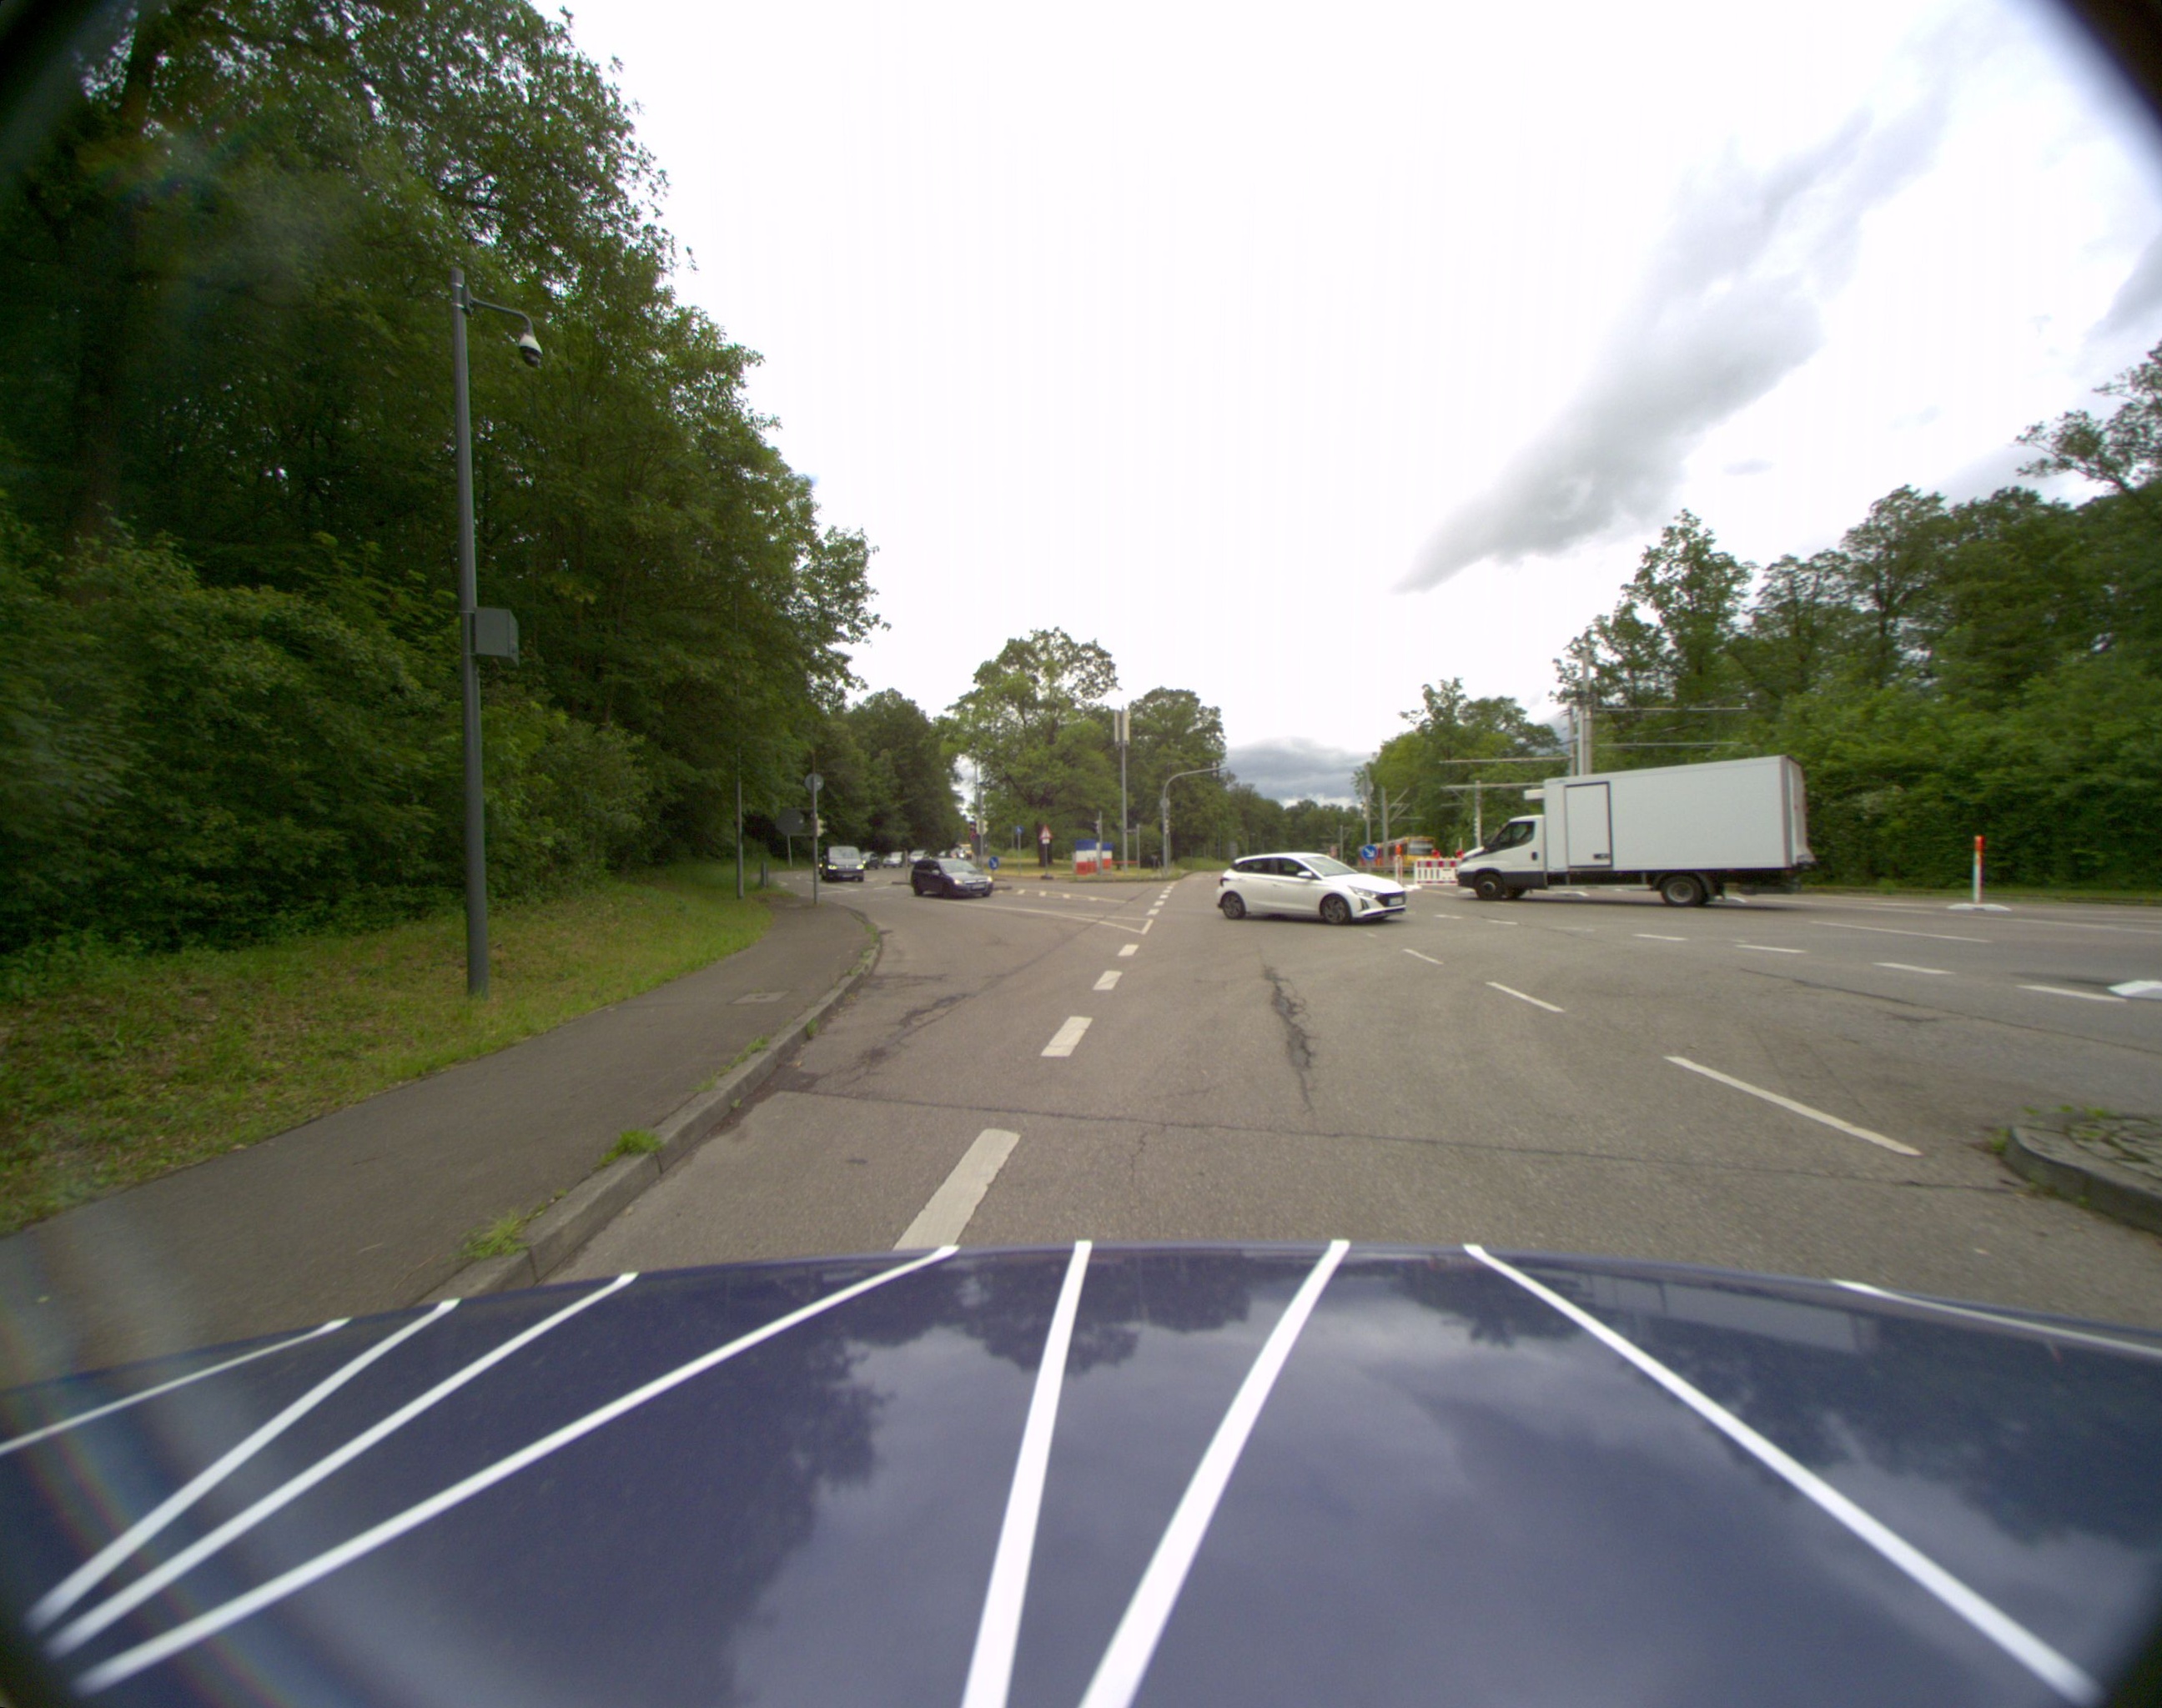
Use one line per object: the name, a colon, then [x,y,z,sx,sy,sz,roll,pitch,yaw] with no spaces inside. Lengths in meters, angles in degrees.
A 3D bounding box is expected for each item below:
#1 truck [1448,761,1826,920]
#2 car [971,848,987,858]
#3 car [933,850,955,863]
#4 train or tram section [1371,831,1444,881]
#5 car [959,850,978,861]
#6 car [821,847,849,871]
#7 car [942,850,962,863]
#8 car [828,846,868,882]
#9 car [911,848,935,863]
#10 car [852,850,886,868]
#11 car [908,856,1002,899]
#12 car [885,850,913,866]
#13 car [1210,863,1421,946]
truck: [13.291,-0.301,18.805,2.462,3.205,7.135,0,1,-41]
car: [-15.872,-0.155,118.411,1.778,1.491,3.873,0,0,2]
car: [-15.899,0.282,88.324,1.778,1.491,3.872,0,0,-1]
train or tram section: [33.994,-0.102,80.164,2.951,4.625,18.554,1,2,11]
car: [-15.158,0.223,102.396,1.778,1.491,3.873,0,0,2]
car: [-17.417,0.329,53.894,1.795,1.664,3.985,-1,0,-17]
car: [-16.022,0.306,94.539,1.778,1.491,3.873,0,0,2]
car: [-12.913,0.518,42.008,1.993,1.862,4.524,0,0,-18]
car: [-16.521,0.170,79.776,1.778,1.491,3.872,0,0,-1]
car: [-17.926,0.407,64.412,1.778,1.491,3.872,0,0,-1]
car: [-4.881,0.830,28.892,1.807,1.471,4.458,0,1,-34]
car: [-17.226,0.374,72.126,1.778,1.491,3.872,0,0,-1]
car: [4.862,0.959,16.251,1.658,1.471,4.061,0,1,-39]
